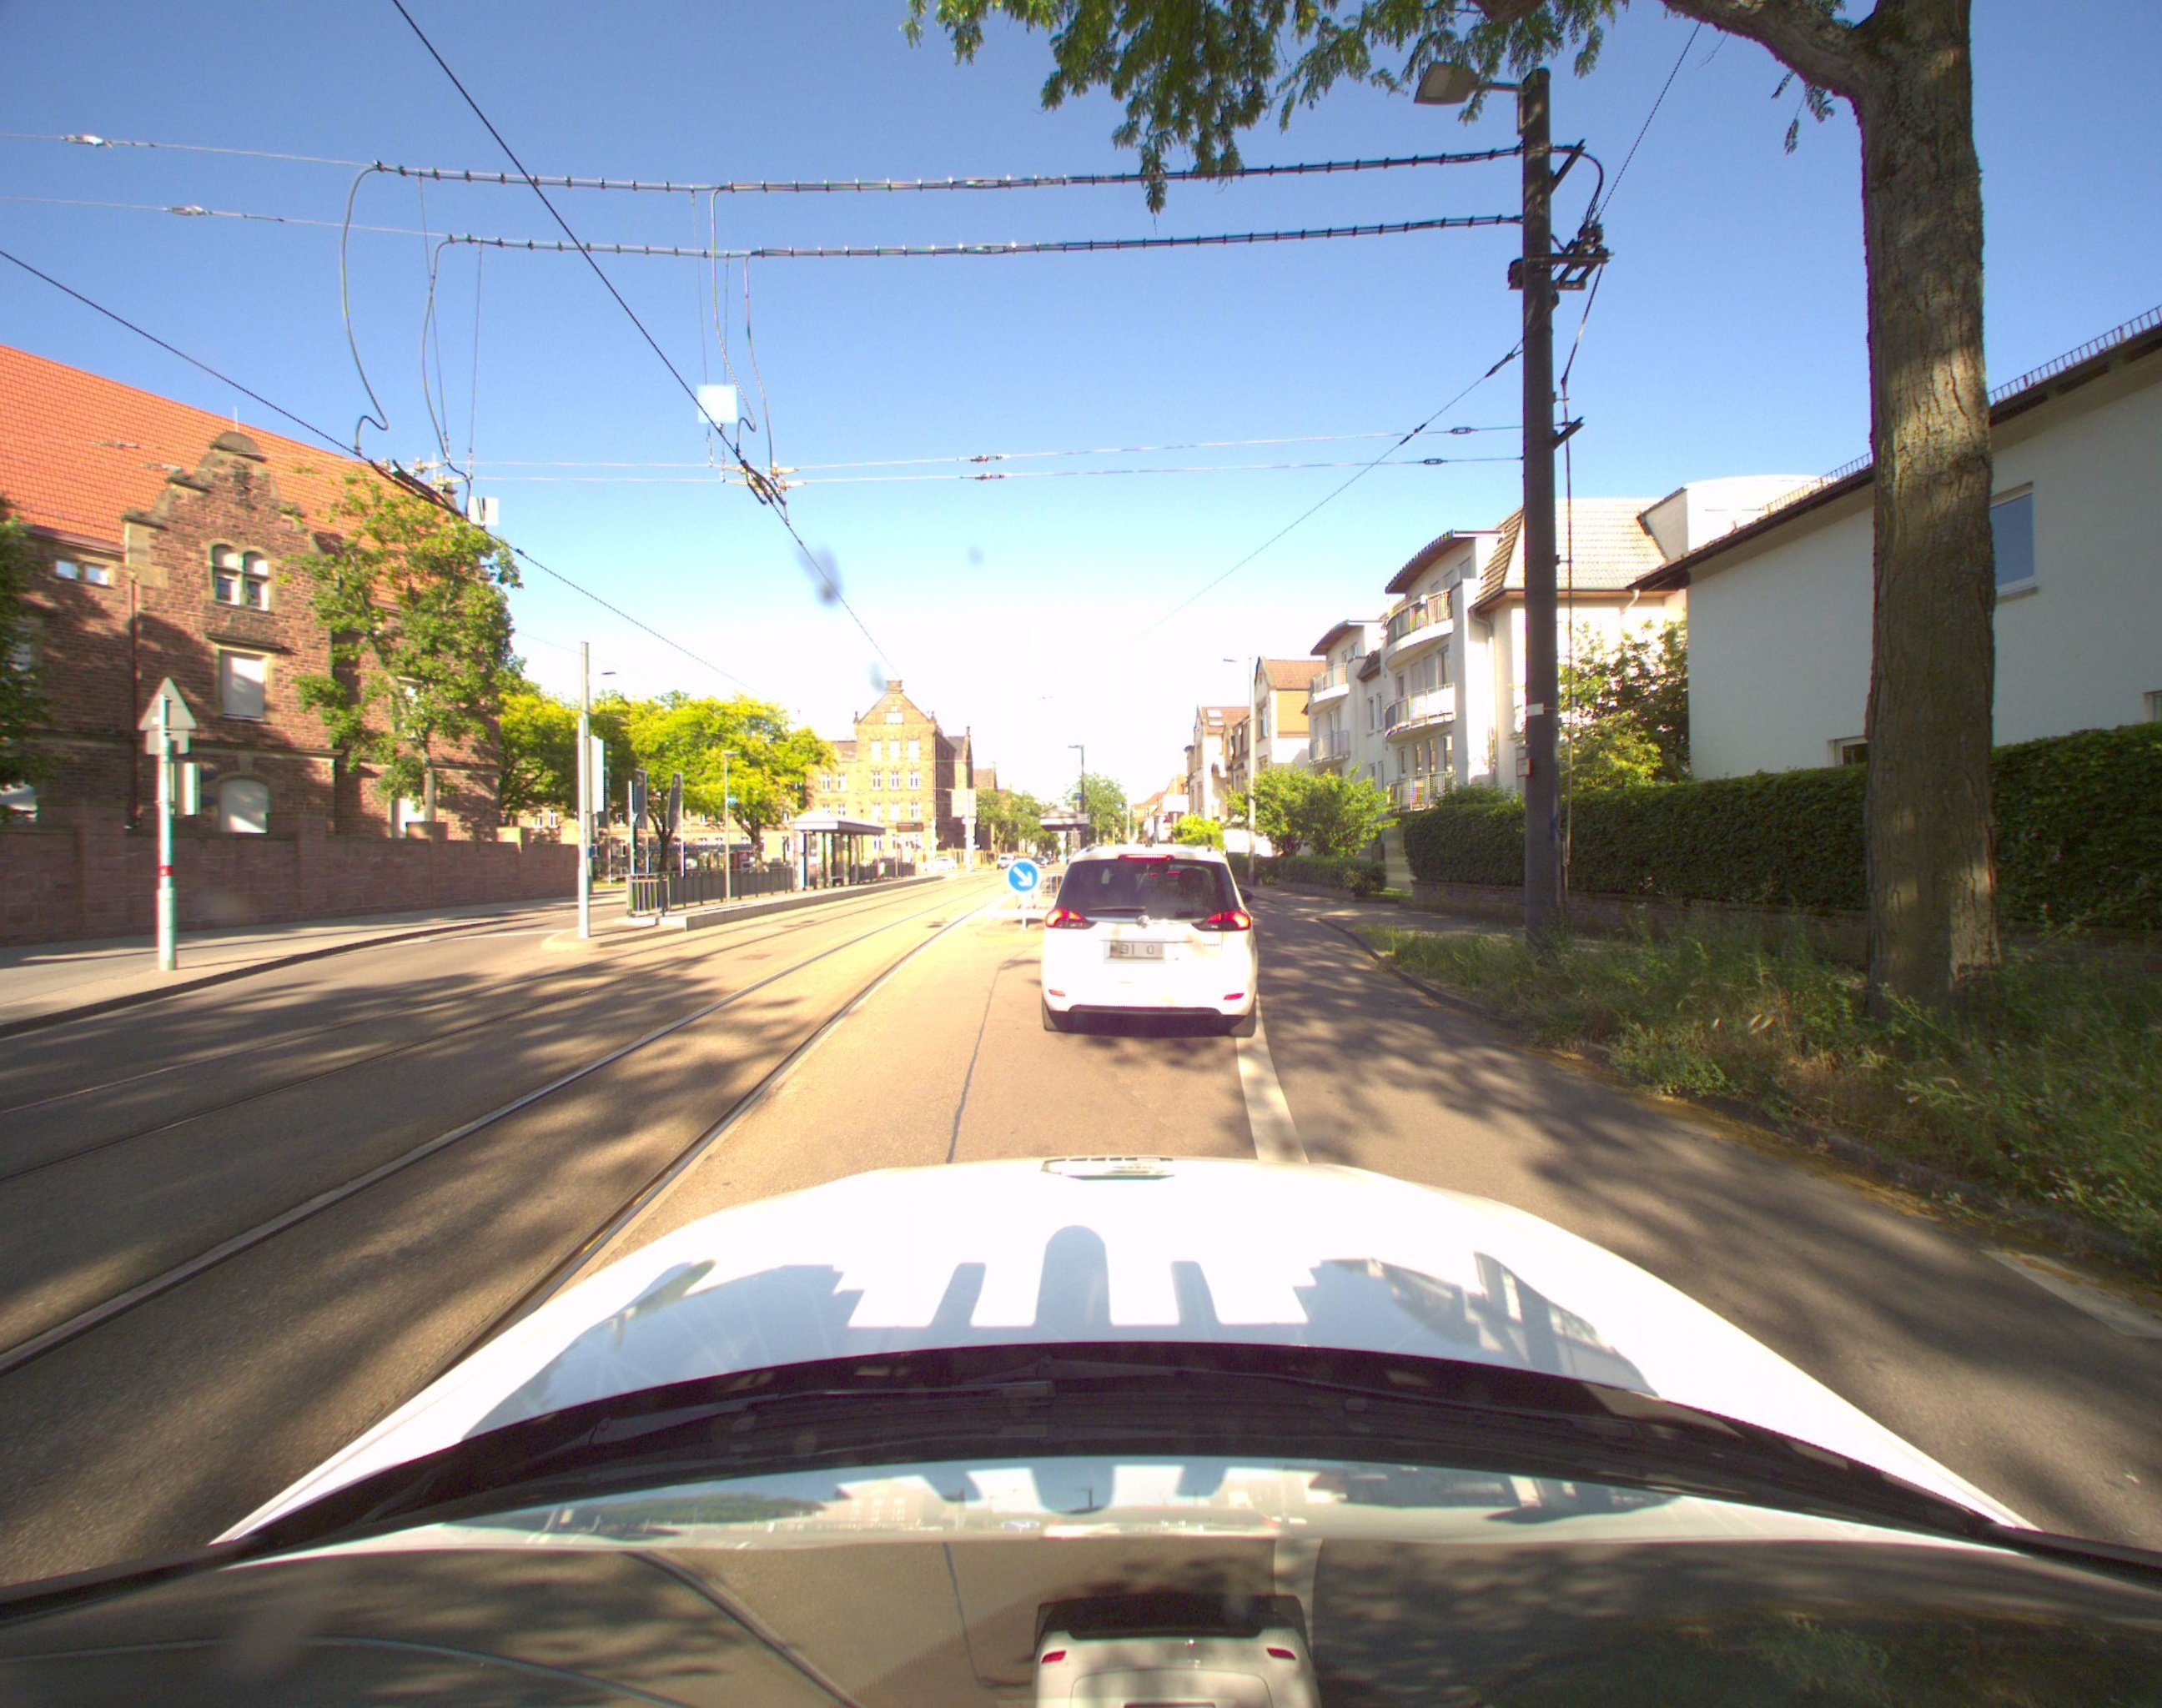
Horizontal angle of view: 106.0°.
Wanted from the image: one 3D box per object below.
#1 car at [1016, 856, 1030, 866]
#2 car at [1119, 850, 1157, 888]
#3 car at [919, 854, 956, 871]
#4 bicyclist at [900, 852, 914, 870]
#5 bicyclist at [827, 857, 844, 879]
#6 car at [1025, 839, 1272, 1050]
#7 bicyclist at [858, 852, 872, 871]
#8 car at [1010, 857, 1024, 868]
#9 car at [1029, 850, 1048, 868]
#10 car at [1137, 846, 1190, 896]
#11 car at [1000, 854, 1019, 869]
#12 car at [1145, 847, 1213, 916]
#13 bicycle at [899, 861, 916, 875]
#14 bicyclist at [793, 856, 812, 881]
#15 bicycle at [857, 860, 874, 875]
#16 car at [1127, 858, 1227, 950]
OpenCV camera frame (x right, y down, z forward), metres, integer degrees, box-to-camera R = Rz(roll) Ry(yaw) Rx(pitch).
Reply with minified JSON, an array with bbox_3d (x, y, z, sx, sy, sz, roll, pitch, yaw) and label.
[{"bbox_3d":[-8.917,1.065,125.593,1.822,1.446,4.325,-1,-1,-1],"label":"car"},{"bbox_3d":[2.617,0.659,37.813,1.590,1.635,3.903,1,0,2],"label":"car"},{"bbox_3d":[-16.462,0.985,93.458,3.997,1.809,1.694,-1,0,-17],"label":"car"},{"bbox_3d":[-15.355,0.647,71.993,0.756,1.536,1.350,-2,-1,6],"label":"bicyclist"},{"bbox_3d":[-16.737,0.932,55.531,0.649,1.459,1.154,-1,0,6],"label":"bicyclist"},{"bbox_3d":[0.761,0.677,8.199,1.868,1.585,4.008,0,0,7],"label":"car"},{"bbox_3d":[-17.163,0.606,64.697,0.754,1.470,1.189,-1,0,-2],"label":"bicyclist"},{"bbox_3d":[-9.268,1.259,118.091,1.822,1.617,4.324,-1,-1,-1],"label":"car"},{"bbox_3d":[-5.149,0.604,98.551,1.987,2.013,4.000,-1,0,1],"label":"car"},{"bbox_3d":[2.910,0.578,29.243,1.590,1.635,3.903,1,0,2],"label":"car"},{"bbox_3d":[-8.584,0.904,97.890,1.820,1.788,4.256,-1,0,1],"label":"car"},{"bbox_3d":[2.558,0.645,21.109,1.560,1.614,3.792,1,0,7],"label":"car"},{"bbox_3d":[-15.331,1.212,72.045,0.773,1.231,2.092,-1,0,6],"label":"bicycle"},{"bbox_3d":[-16.702,0.853,48.834,0.650,1.459,1.153,-1,0,4],"label":"bicyclist"},{"bbox_3d":[-17.152,1.072,64.823,0.813,1.198,1.951,-1,0,-2],"label":"bicycle"},{"bbox_3d":[1.771,0.805,14.871,1.560,1.401,3.792,1,0,7],"label":"car"}]
